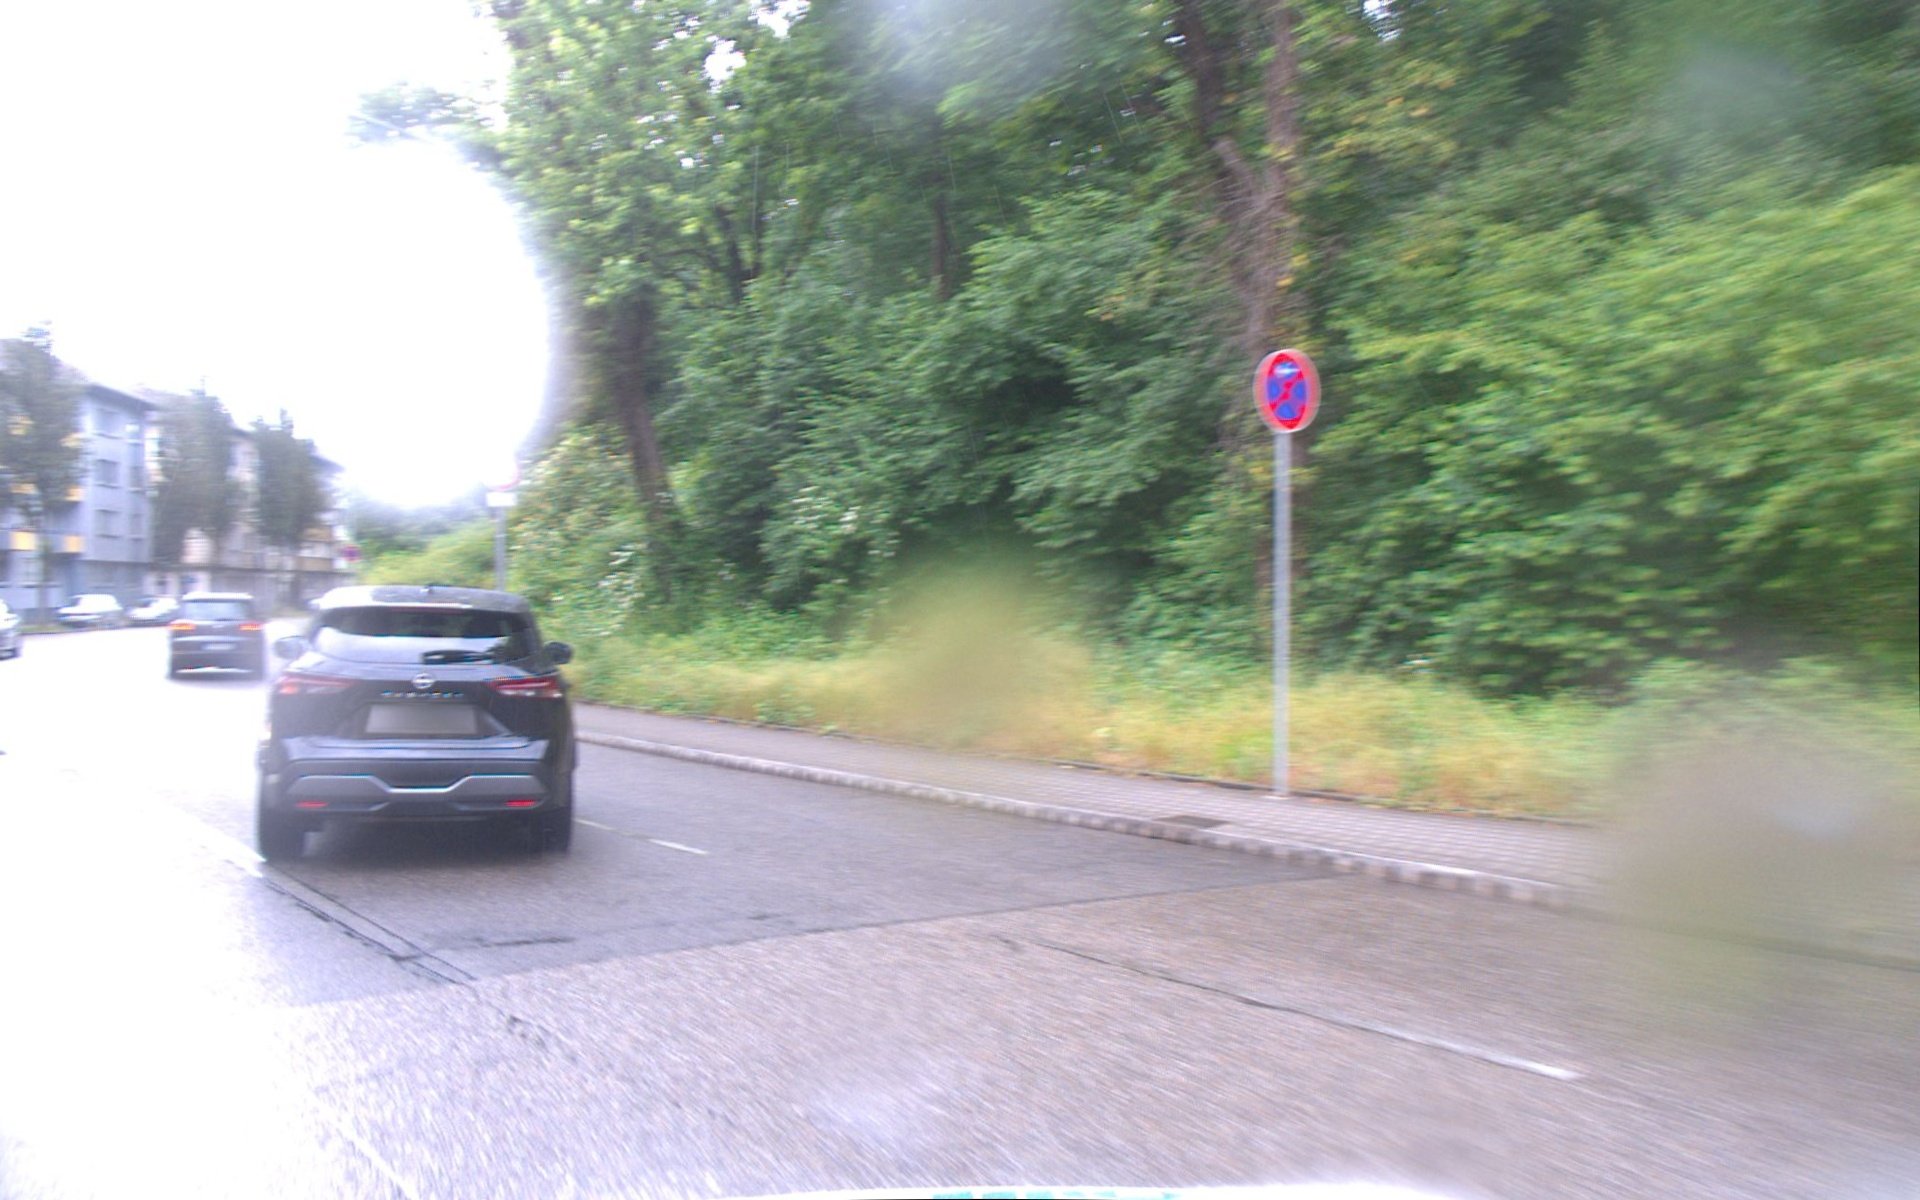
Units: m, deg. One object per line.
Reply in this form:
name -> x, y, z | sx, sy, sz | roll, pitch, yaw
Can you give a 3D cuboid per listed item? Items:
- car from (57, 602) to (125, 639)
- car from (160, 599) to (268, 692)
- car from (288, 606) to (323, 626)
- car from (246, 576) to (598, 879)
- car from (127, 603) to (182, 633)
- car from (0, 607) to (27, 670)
car -> -40.099, 0.912, 76.396 | 1.734, 1.632, 4.517 | -1, 0, -14
car -> -15.079, 0.871, 33.432 | 1.863, 1.741, 3.969 | 1, 0, -25
car -> -49.651, 1.191, 125.483 | 1.596, 1.411, 3.980 | -1, 0, -9
car -> -3.633, 0.682, 10.988 | 1.818, 1.610, 3.975 | 1, 0, -21
car -> -42.358, 0.927, 87.066 | 1.695, 1.478, 4.191 | -1, 0, -13
car -> -24.088, 0.913, 40.441 | 1.729, 1.450, 4.504 | 0, 0, -23
